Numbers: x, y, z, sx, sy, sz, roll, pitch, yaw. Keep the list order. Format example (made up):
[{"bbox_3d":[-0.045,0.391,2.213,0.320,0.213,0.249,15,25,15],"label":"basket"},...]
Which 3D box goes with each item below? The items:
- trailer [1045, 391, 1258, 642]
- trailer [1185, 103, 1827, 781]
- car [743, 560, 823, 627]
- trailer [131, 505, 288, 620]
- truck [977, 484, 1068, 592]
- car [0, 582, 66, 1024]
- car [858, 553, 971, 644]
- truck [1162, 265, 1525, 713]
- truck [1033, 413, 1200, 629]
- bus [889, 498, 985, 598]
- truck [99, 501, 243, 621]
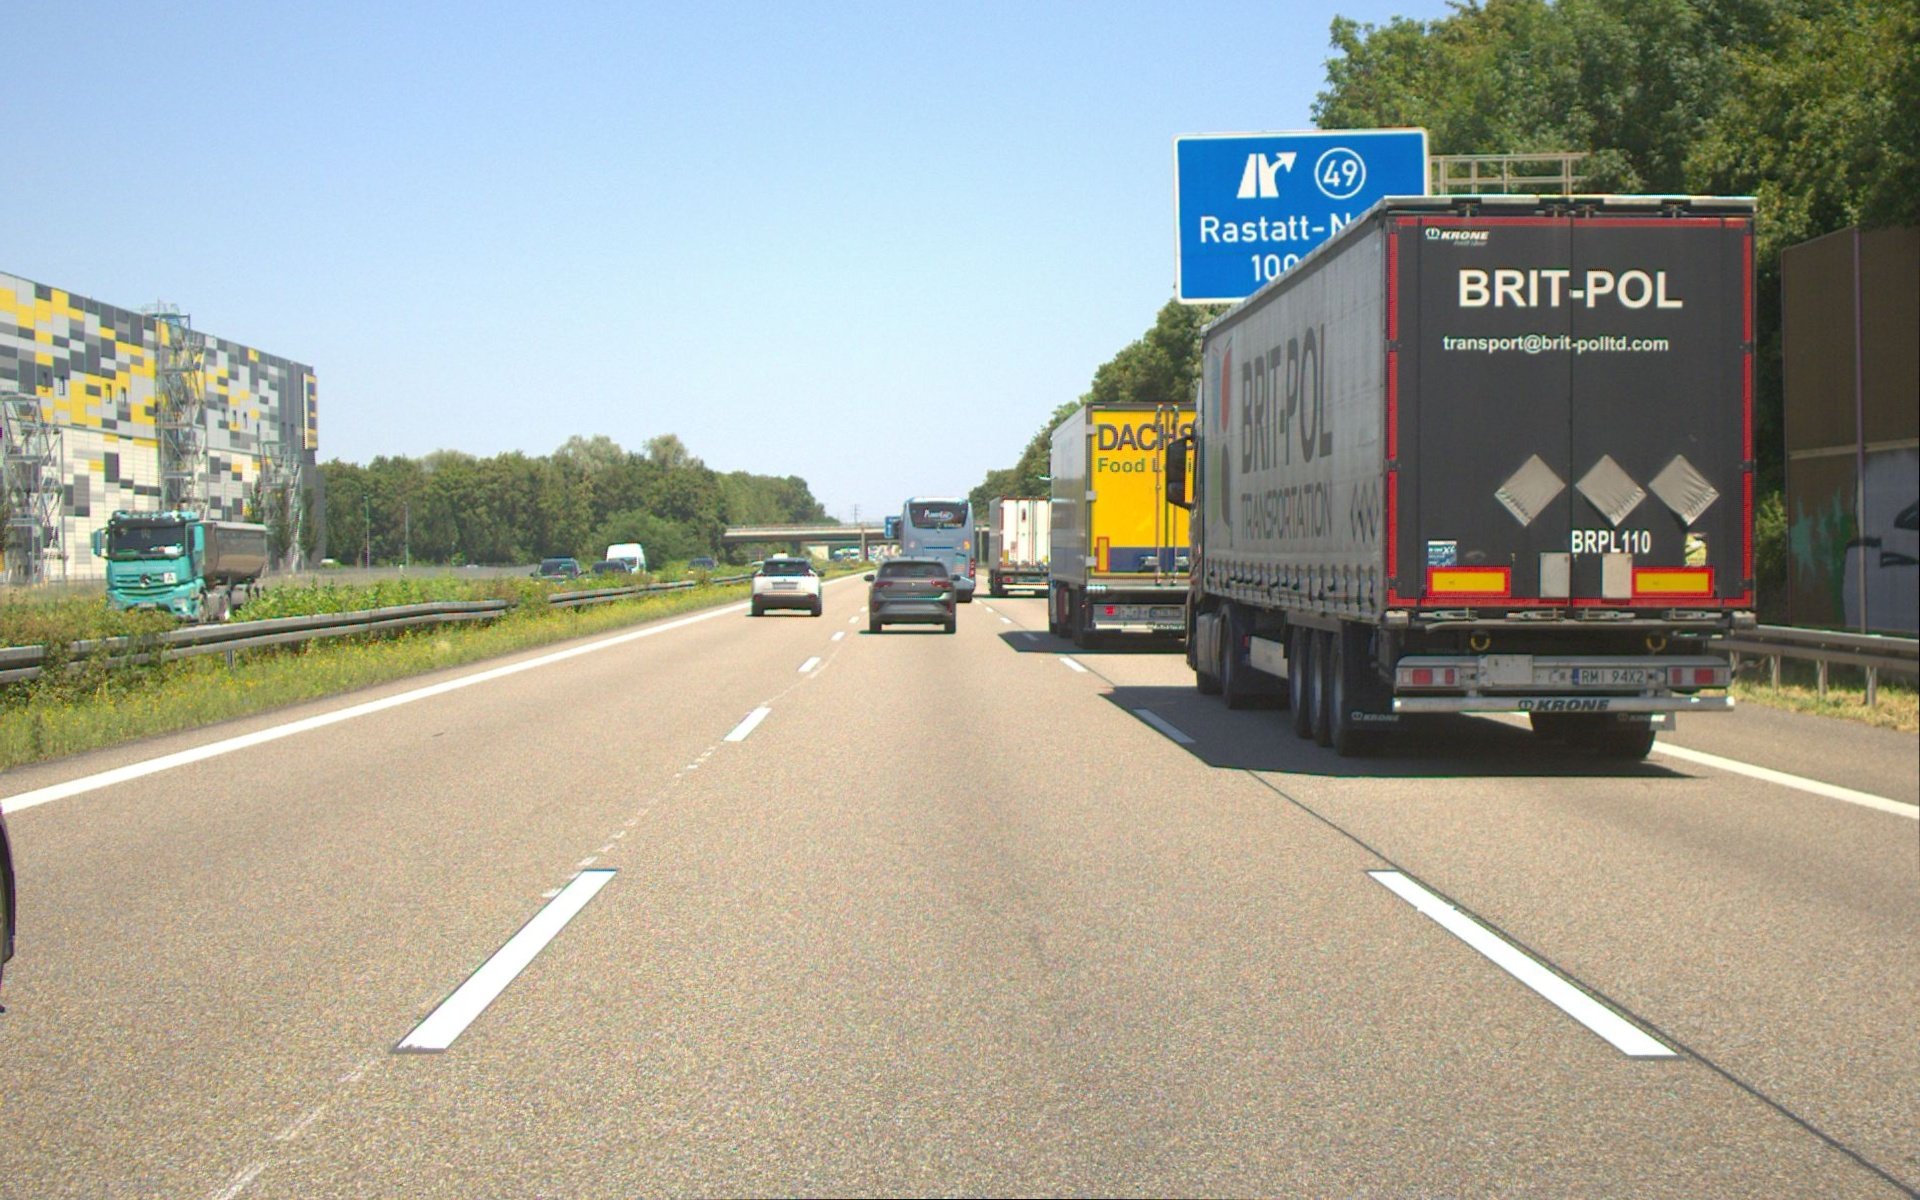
[{"bbox_3d":[3.153,-1.389,59.954,2.834,3.940,11.684,0,1,-1],"label":"trailer"},{"bbox_3d":[4.128,-1.093,30.378,3.106,4.491,14.896,1,0,-1],"label":"trailer"},{"bbox_3d":[-4.639,-0.195,90.466,1.993,1.722,4.131,0,1,-2],"label":"car"},{"bbox_3d":[-22.064,-1.082,101.570,2.675,3.227,9.259,0,0,-1],"label":"trailer"},{"bbox_3d":[2.435,-2.431,137.749,3.422,4.112,9.564,-1,1,0],"label":"truck"},{"bbox_3d":[-3.934,0.660,9.784,1.792,1.407,4.053,1,1,-1],"label":"car"},{"bbox_3d":[-0.951,-0.057,71.098,2.216,1.784,5.393,-1,1,-1],"label":"car"},{"bbox_3d":[4.007,-1.114,37.333,3.087,4.426,6.053,1,0,-1],"label":"truck"},{"bbox_3d":[2.979,-1.503,67.186,2.813,3.993,6.645,0,1,-1],"label":"truck"},{"bbox_3d":[-0.855,-1.803,120.805,3.062,3.315,8.275,-1,1,-2],"label":"bus"},{"bbox_3d":[-21.990,-1.067,96.057,2.697,3.239,5.838,-1,0,-1],"label":"truck"}]
